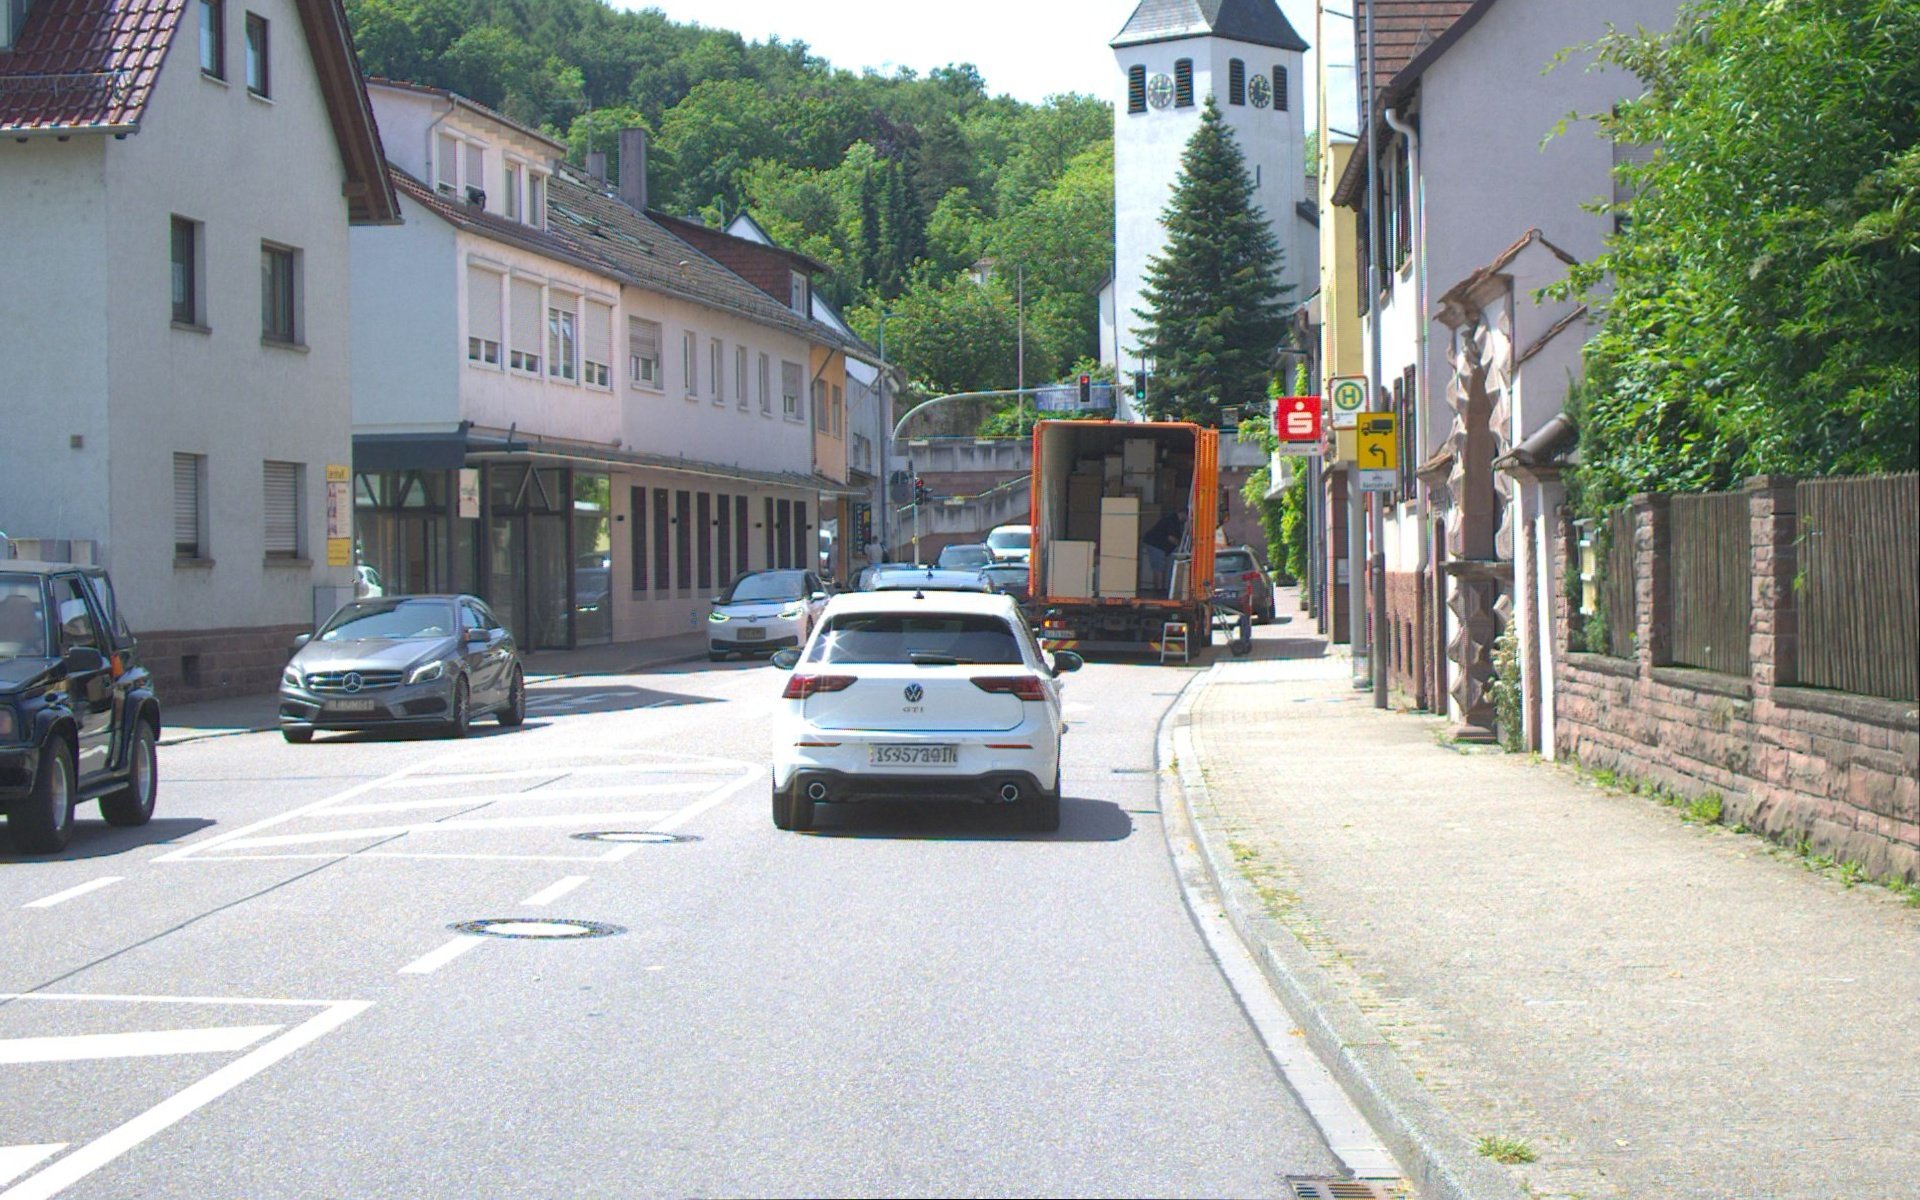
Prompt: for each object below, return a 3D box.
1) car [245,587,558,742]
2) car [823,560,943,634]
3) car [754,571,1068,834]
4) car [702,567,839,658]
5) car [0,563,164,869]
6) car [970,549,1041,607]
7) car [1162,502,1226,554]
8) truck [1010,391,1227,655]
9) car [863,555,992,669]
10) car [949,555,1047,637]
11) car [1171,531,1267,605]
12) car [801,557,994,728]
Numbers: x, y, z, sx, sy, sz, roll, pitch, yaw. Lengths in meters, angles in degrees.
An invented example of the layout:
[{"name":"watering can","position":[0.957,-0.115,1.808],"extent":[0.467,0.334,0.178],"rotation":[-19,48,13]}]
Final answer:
[{"name":"car","position":[-5.610,0.614,35.072],"extent":[1.864,1.437,4.215],"rotation":[-2,0,10]},{"name":"car","position":[-1.619,-0.065,73.892],"extent":[1.794,1.488,4.419],"rotation":[-2,0,9]},{"name":"car","position":[-0.250,0.599,22.003],"extent":[1.815,1.514,4.000],"rotation":[0,0,1]},{"name":"car","position":[-3.313,0.207,60.823],"extent":[1.796,1.503,4.133],"rotation":[-2,0,5]},{"name":"car","position":[-5.927,0.614,20.334],"extent":[1.738,1.645,3.669],"rotation":[-1,1,-3]},{"name":"car","position":[1.497,-0.730,111.686],"extent":[1.802,1.774,4.704],"rotation":[-2,1,7]},{"name":"car","position":[7.534,-2.313,111.064],"extent":[1.815,1.514,4.000],"rotation":[-2,0,1]},{"name":"truck","position":[2.829,-1.230,60.162],"extent":[3.367,4.156,9.518],"rotation":[-2,0,3]},{"name":"car","position":[-0.458,0.182,52.293],"extent":[1.815,1.623,4.000],"rotation":[-2,0,1]},{"name":"car","position":[0.760,-0.070,67.403],"extent":[1.815,1.514,4.000],"rotation":[-2,0,1]},{"name":"car","position":[5.624,-0.673,74.995],"extent":[1.815,1.514,4.000],"rotation":[-2,0,1]},{"name":"car","position":[-0.590,0.420,35.728],"extent":[1.815,1.623,4.000],"rotation":[-2,0,1]}]
